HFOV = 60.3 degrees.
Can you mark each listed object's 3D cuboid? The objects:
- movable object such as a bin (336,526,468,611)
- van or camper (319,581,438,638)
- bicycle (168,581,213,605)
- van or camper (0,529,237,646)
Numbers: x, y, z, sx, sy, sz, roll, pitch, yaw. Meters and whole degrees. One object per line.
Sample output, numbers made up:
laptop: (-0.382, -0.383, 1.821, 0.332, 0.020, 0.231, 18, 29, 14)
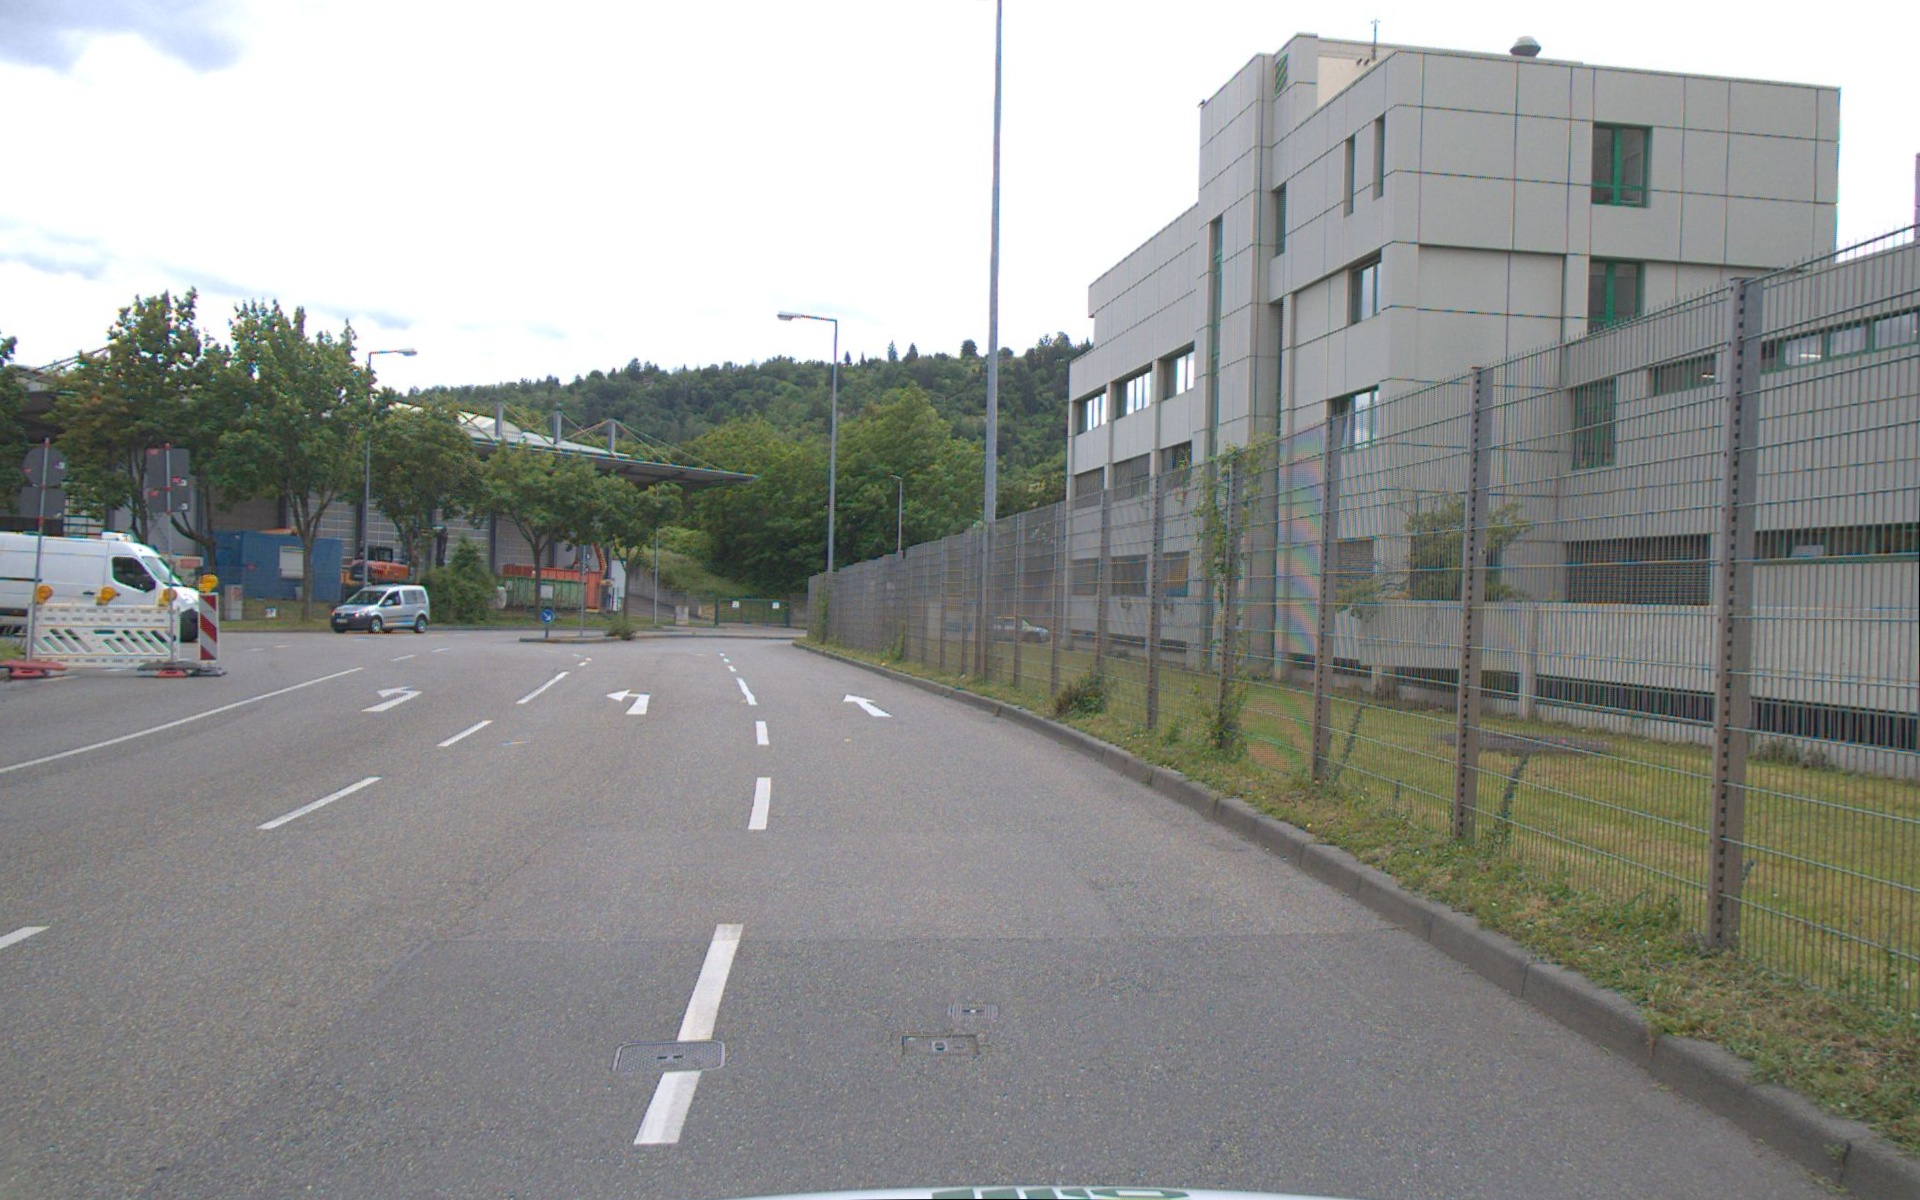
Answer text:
movable object such as a bin: (-28.801, -1.555, 85.677, 2.671, 4.163, 6.548, 1, 0, 24)
van or camper: (-22.045, 0.381, 62.889, 1.912, 1.997, 4.277, 3, 0, 20)
bicycle: (-33.515, -0.312, 72.060, 0.648, 0.991, 1.760, 1, 0, 24)
van or camper: (-21.392, -0.321, 40.852, 5.977, 2.601, 2.268, 3, 0, -10)
